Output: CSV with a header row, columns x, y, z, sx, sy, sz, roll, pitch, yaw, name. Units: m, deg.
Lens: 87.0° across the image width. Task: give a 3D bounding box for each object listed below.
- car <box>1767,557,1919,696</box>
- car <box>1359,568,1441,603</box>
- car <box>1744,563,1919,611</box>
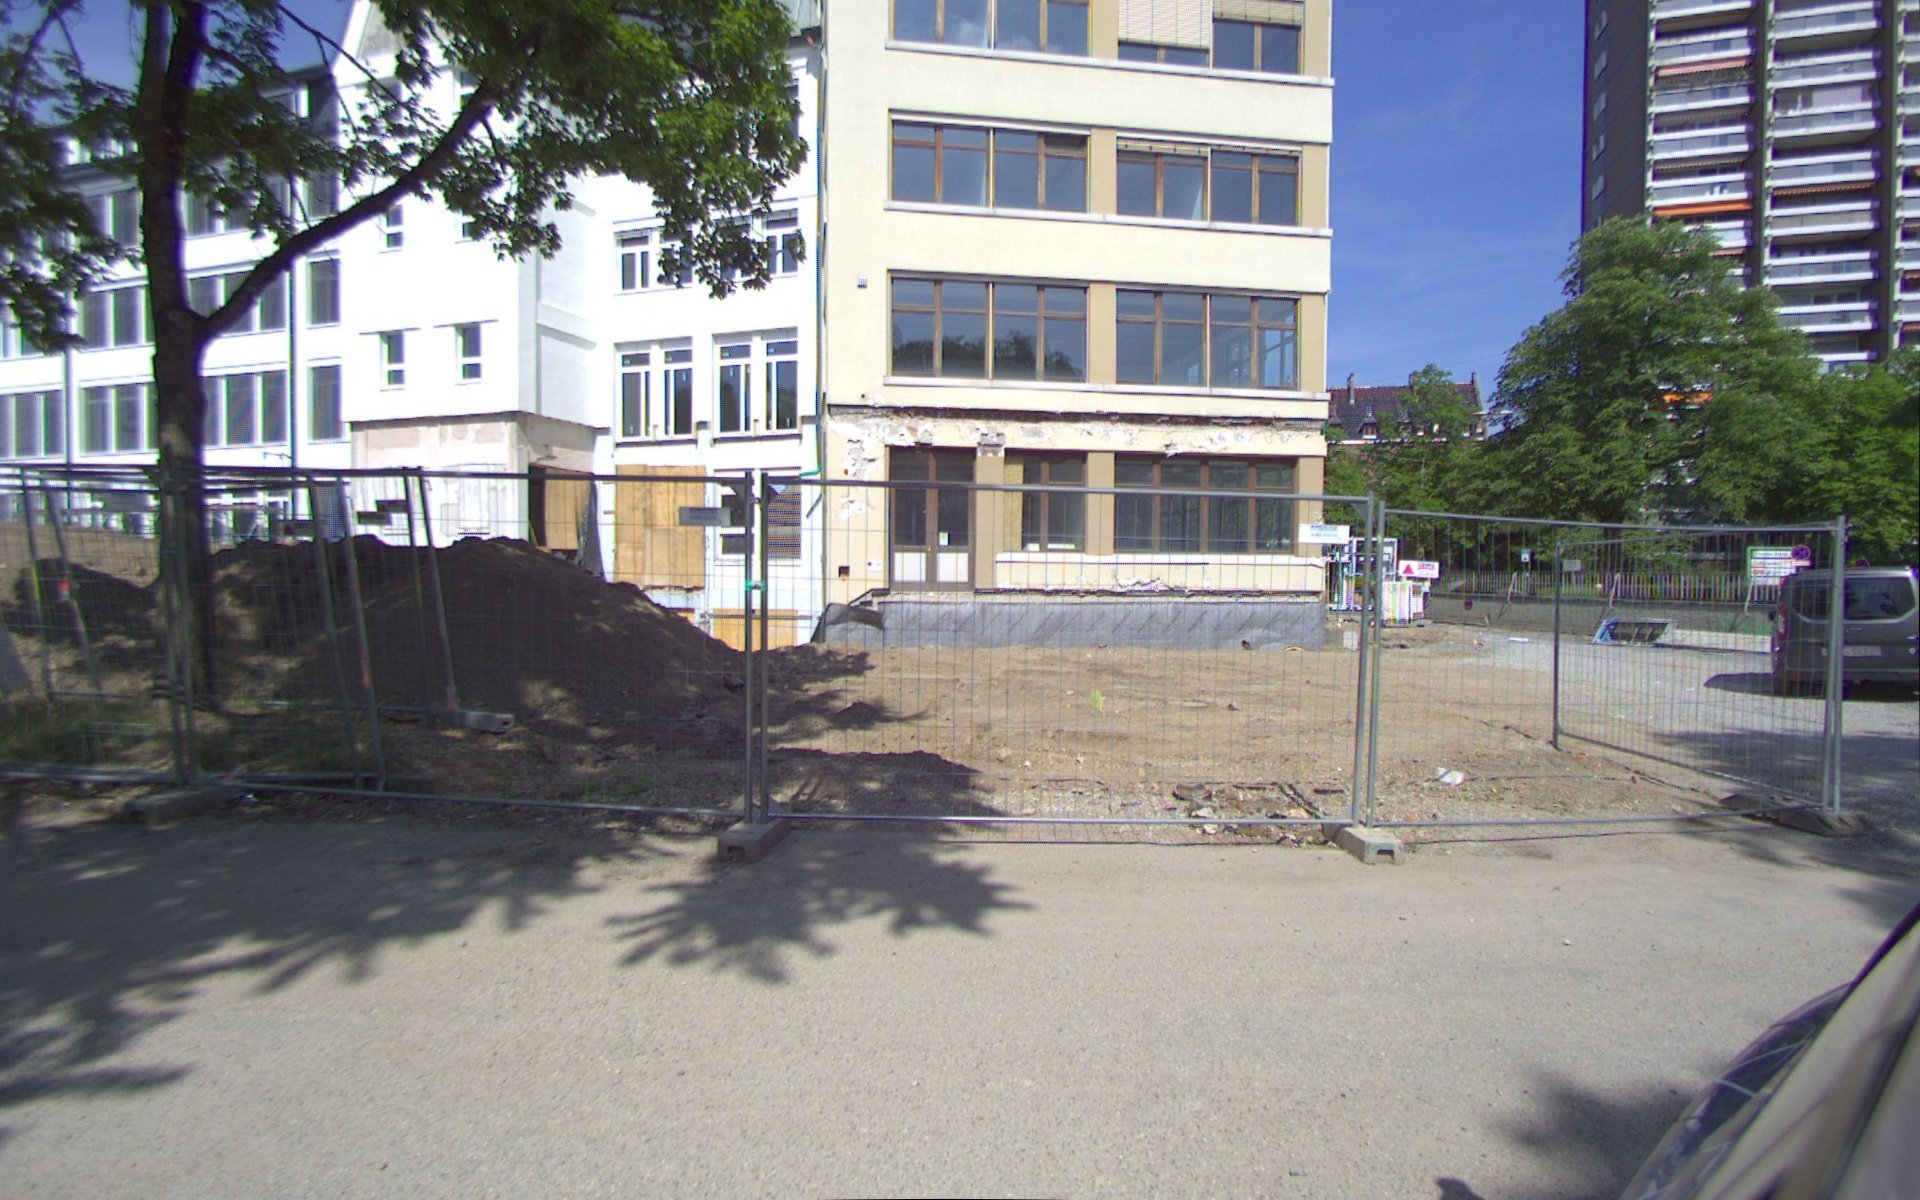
x,y,z,sx,sy,sz,roll,pitch,yaw,name
13.386,0.306,15.138,1.913,1.803,4.250,0,1,40,car
26.208,-0.884,60.549,1.955,1.970,5.259,1,1,-9,car
30.397,-0.480,35.506,1.903,1.540,4.398,1,1,-9,car
